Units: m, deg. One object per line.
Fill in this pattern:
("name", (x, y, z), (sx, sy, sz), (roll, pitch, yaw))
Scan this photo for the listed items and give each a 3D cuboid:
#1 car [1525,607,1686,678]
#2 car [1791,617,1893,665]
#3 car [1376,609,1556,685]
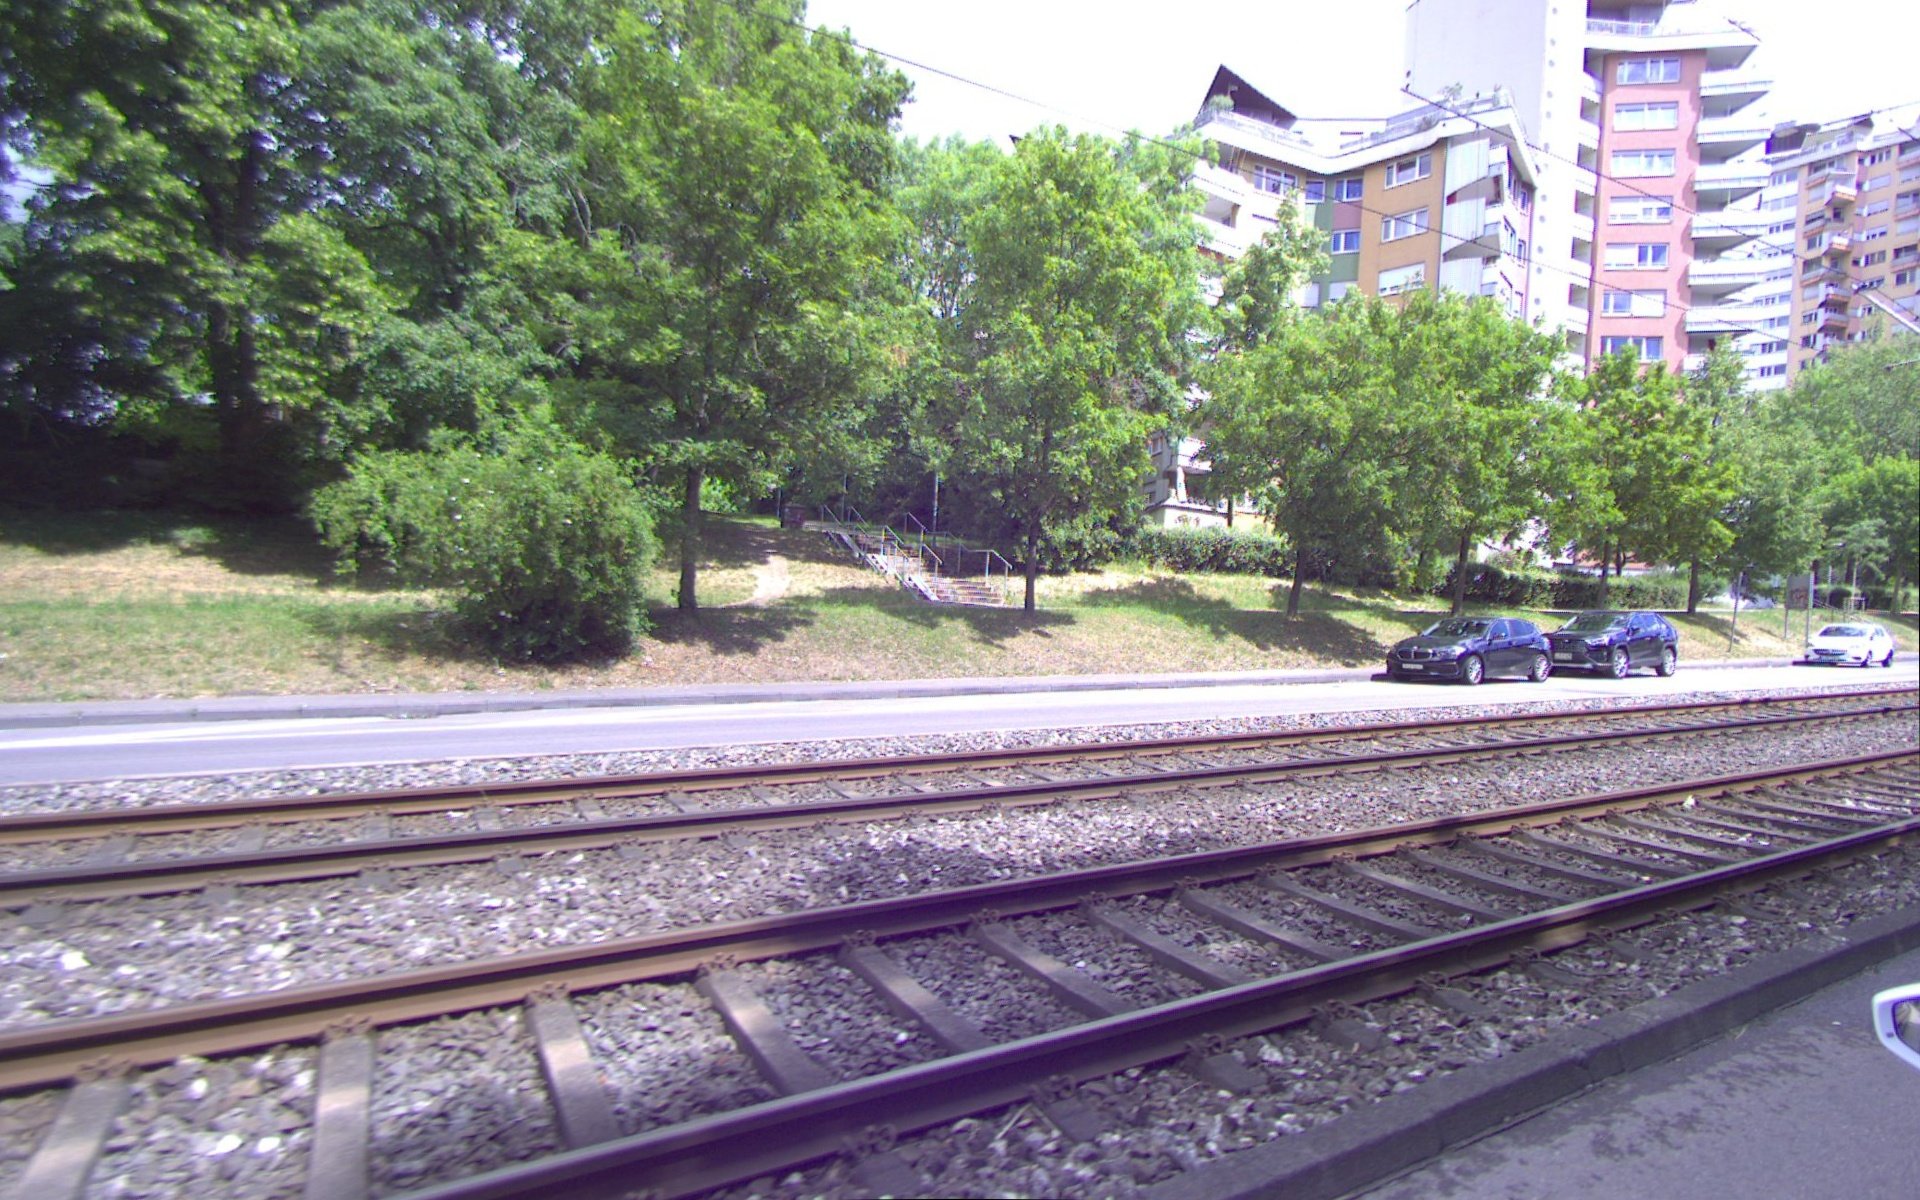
("car", (16.335, 1.063, 25.358), (4.334, 1.651, 1.764), (2, -1, -32))
("car", (30.626, 1.404, 34.850), (4.203, 1.552, 1.769), (1, -1, -36))
("car", (11.180, 0.997, 22.146), (3.953, 1.518, 1.764), (1, 0, -32))
